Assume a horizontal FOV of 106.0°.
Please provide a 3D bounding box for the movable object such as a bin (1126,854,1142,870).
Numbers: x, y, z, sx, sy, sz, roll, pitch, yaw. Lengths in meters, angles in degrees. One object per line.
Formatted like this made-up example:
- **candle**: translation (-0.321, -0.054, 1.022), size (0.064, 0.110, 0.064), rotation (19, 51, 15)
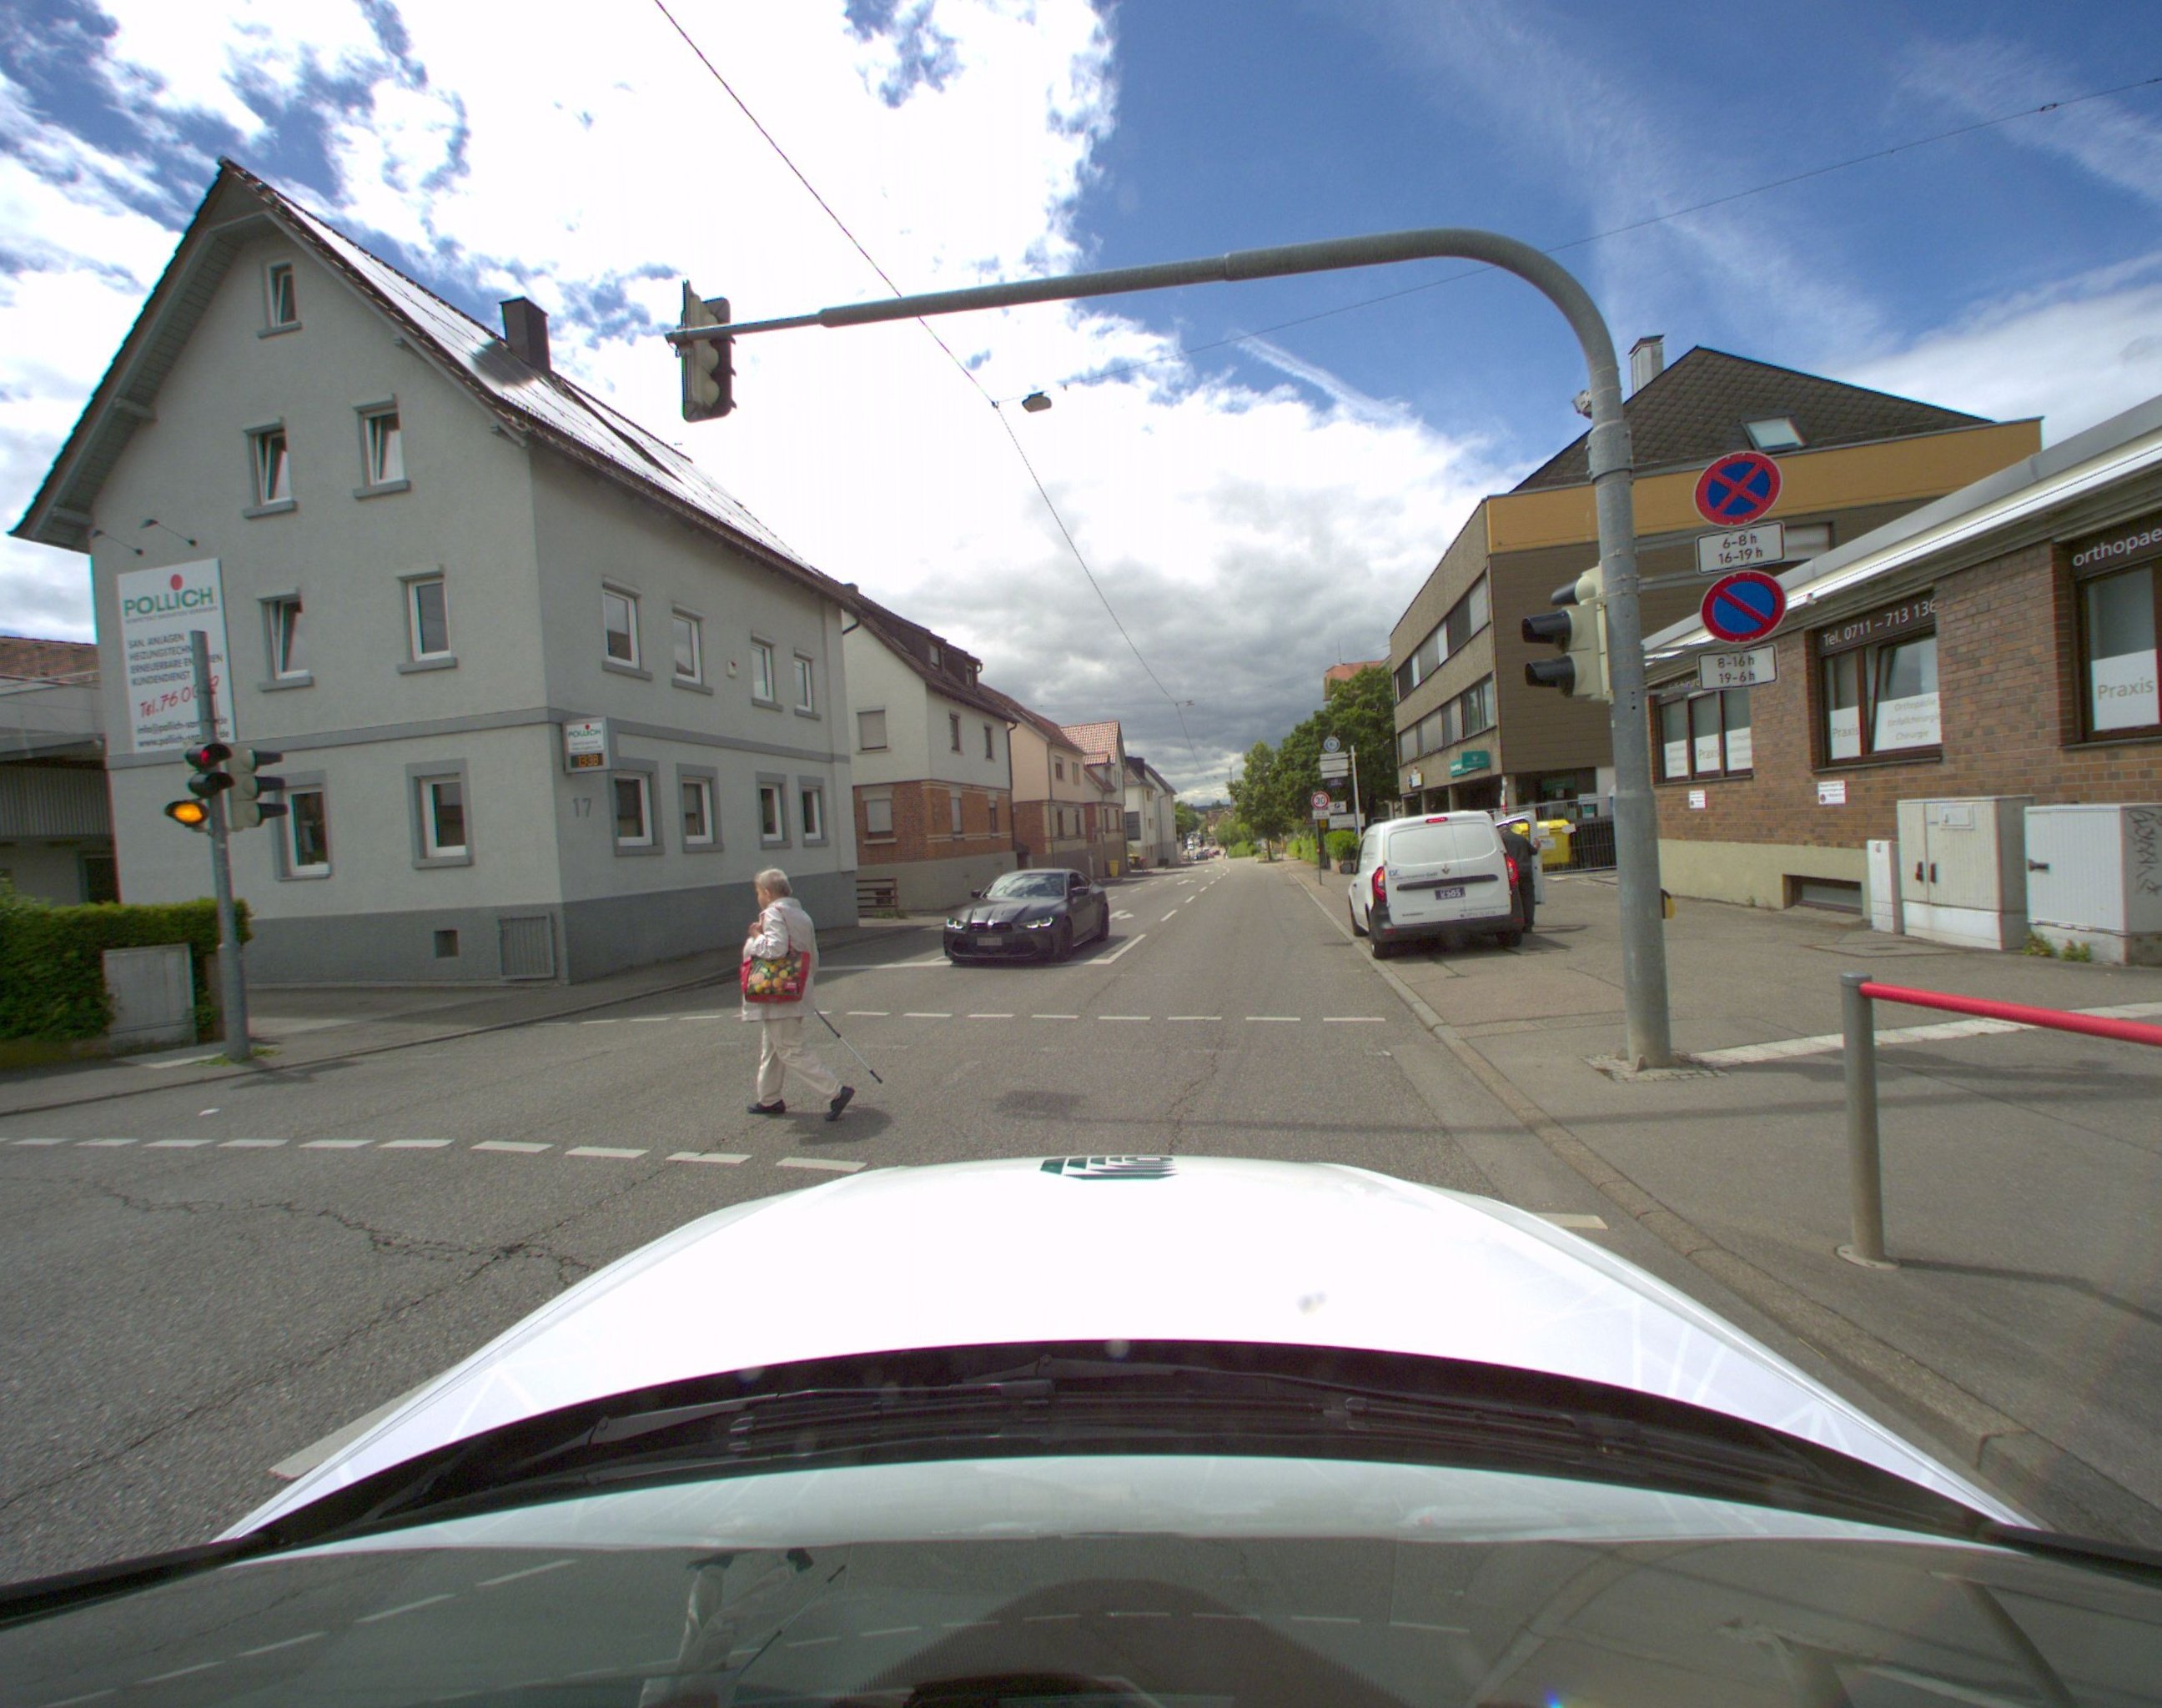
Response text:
- **movable object such as a bin**: translation (4.665, 0.693, 71.559), size (1.274, 1.310, 0.818), rotation (-4, 0, 6)

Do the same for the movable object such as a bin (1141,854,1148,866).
- **movable object such as a bin**: translation (5.717, 0.560, 73.121), size (0.528, 1.030, 0.456), rotation (-4, 0, 10)

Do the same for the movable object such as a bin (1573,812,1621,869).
- **movable object such as a bin**: translation (14.023, -0.378, 22.155), size (0.774, 1.440, 1.022), rotation (-4, 2, 15)

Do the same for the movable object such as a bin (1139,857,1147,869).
- **movable object such as a bin**: translation (5.528, 0.767, 72.620), size (0.528, 1.030, 0.456), rotation (-4, 0, 10)

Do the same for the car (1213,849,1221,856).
- **car**: translation (39.741, -0.448, 238.283), size (1.982, 2.013, 4.009), rotation (-4, -1, 8)

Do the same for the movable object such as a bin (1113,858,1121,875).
- **movable object such as a bin**: translation (2.485, 0.860, 55.687), size (0.428, 1.128, 0.300), rotation (-4, 0, 11)

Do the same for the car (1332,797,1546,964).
- **car**: translation (4.974, 0.320, 12.046), size (1.898, 1.794, 4.507), rotation (-7, -1, 13)

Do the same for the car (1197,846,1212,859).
- **car**: translation (20.713, -0.291, 136.689), size (1.985, 2.013, 4.004), rotation (-3, 0, 3)

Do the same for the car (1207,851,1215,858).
- **car**: translation (35.529, 0.149, 222.933), size (1.982, 2.013, 4.009), rotation (-4, -1, 8)

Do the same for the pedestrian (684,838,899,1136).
- **pedestrian**: translation (-1.763, 0.746, 5.032), size (0.863, 1.637, 0.841), rotation (-3, -1, 24)

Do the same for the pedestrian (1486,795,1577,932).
- **pedestrian**: translation (6.310, 0.135, 11.442), size (0.837, 1.803, 0.653), rotation (-5, -1, 12)

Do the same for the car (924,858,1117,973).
- **car**: translation (-0.803, 0.913, 14.026), size (1.980, 1.457, 4.633), rotation (-5, 0, 12)

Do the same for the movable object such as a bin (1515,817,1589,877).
- **movable object such as a bin**: translation (12.941, -0.212, 22.433), size (1.471, 1.492, 1.081), rotation (-4, 2, 15)

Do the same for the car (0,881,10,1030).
- **car**: translation (-15.564, 1.429, 8.960), size (1.980, 1.947, 4.015), rotation (-5, 0, 13)
